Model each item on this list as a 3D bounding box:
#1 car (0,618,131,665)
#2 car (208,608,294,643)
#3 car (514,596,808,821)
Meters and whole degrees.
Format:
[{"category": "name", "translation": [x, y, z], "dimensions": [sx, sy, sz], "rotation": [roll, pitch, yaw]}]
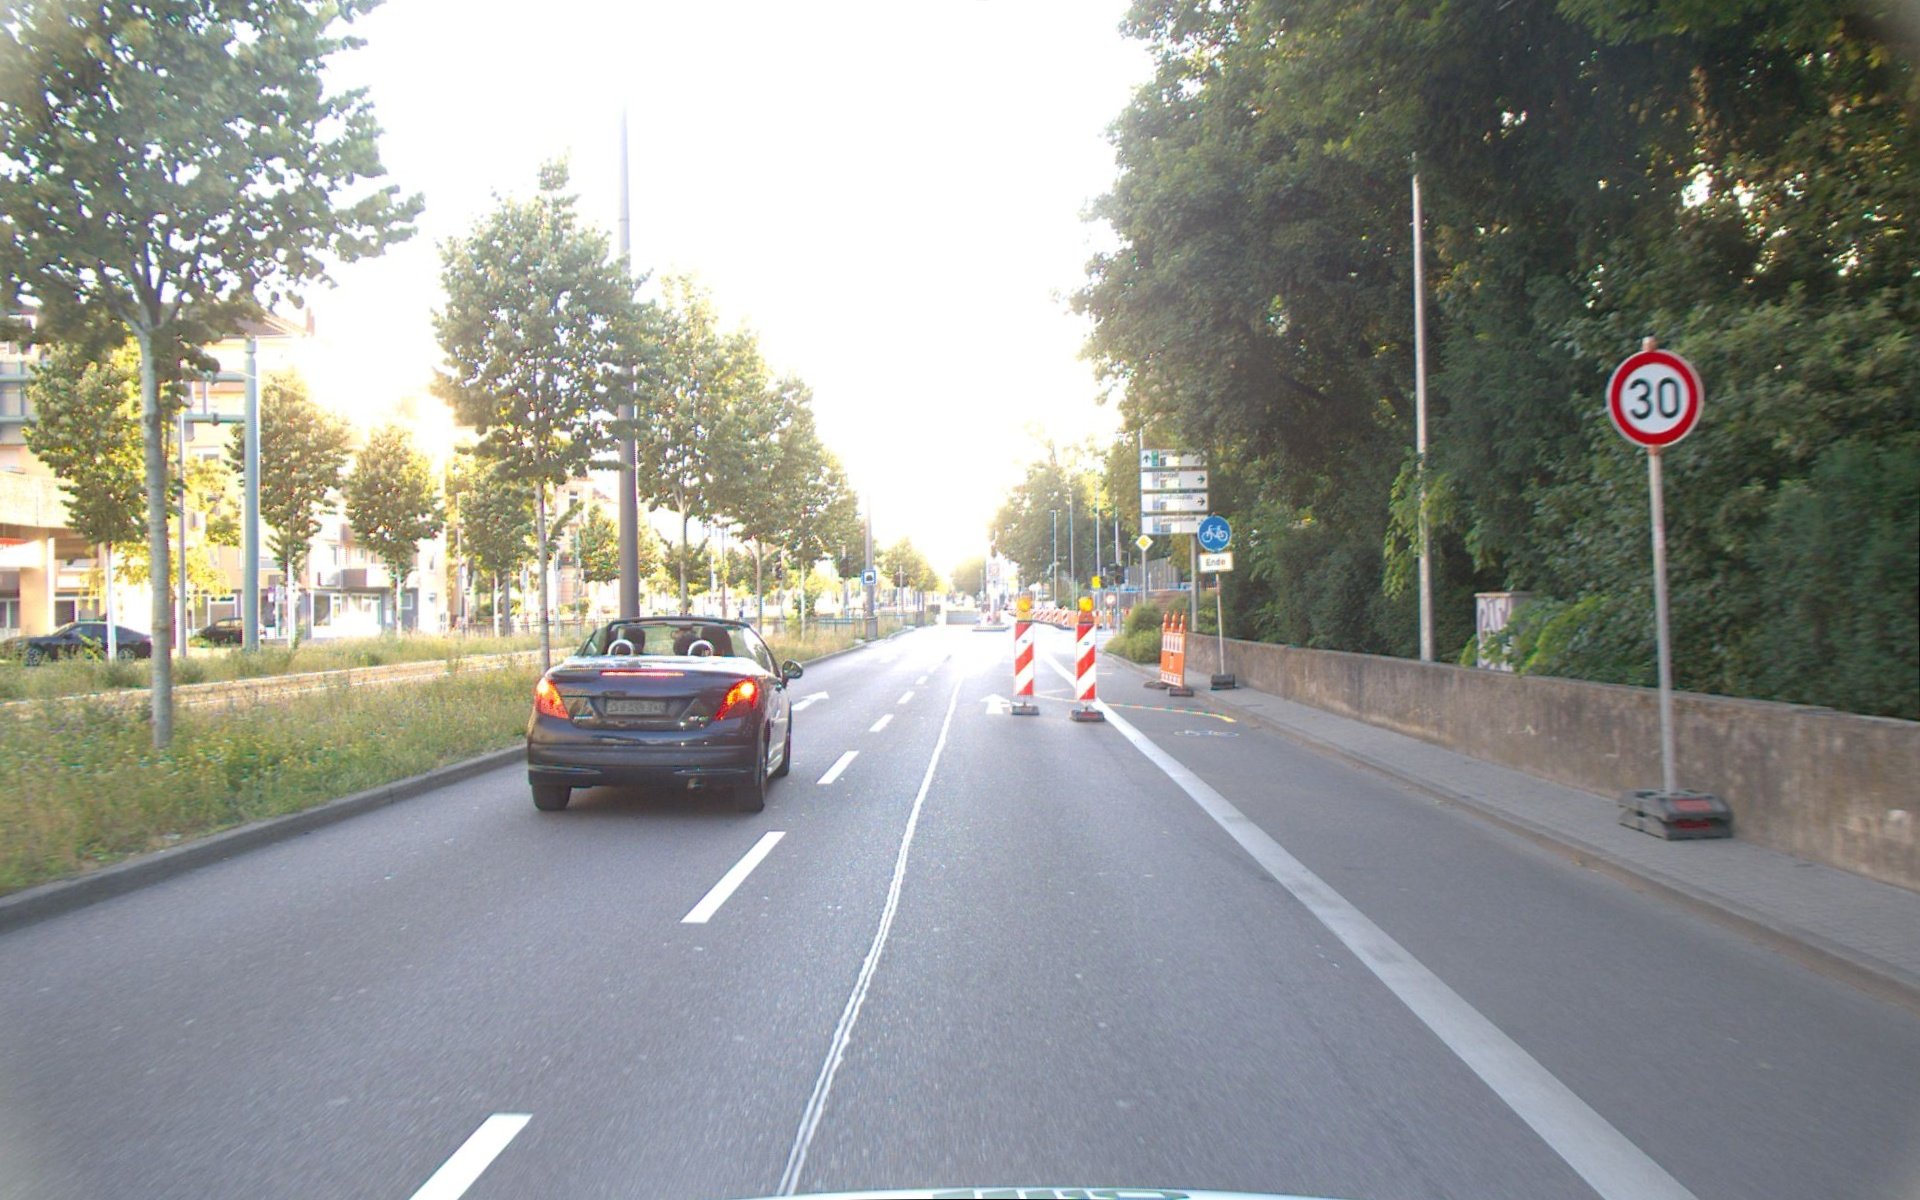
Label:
[{"category": "car", "translation": [-30.386, 1.405, 56.162], "dimensions": [3.698, 1.475, 1.718], "rotation": [-1, -1, -42]}, {"category": "car", "translation": [-39.993, 1.418, 93.383], "dimensions": [3.853, 1.878, 2.191], "rotation": [-1, 0, 0]}, {"category": "car", "translation": [-2.181, 0.726, 13.051], "dimensions": [1.684, 1.475, 3.900], "rotation": [1, 0, -2]}]
